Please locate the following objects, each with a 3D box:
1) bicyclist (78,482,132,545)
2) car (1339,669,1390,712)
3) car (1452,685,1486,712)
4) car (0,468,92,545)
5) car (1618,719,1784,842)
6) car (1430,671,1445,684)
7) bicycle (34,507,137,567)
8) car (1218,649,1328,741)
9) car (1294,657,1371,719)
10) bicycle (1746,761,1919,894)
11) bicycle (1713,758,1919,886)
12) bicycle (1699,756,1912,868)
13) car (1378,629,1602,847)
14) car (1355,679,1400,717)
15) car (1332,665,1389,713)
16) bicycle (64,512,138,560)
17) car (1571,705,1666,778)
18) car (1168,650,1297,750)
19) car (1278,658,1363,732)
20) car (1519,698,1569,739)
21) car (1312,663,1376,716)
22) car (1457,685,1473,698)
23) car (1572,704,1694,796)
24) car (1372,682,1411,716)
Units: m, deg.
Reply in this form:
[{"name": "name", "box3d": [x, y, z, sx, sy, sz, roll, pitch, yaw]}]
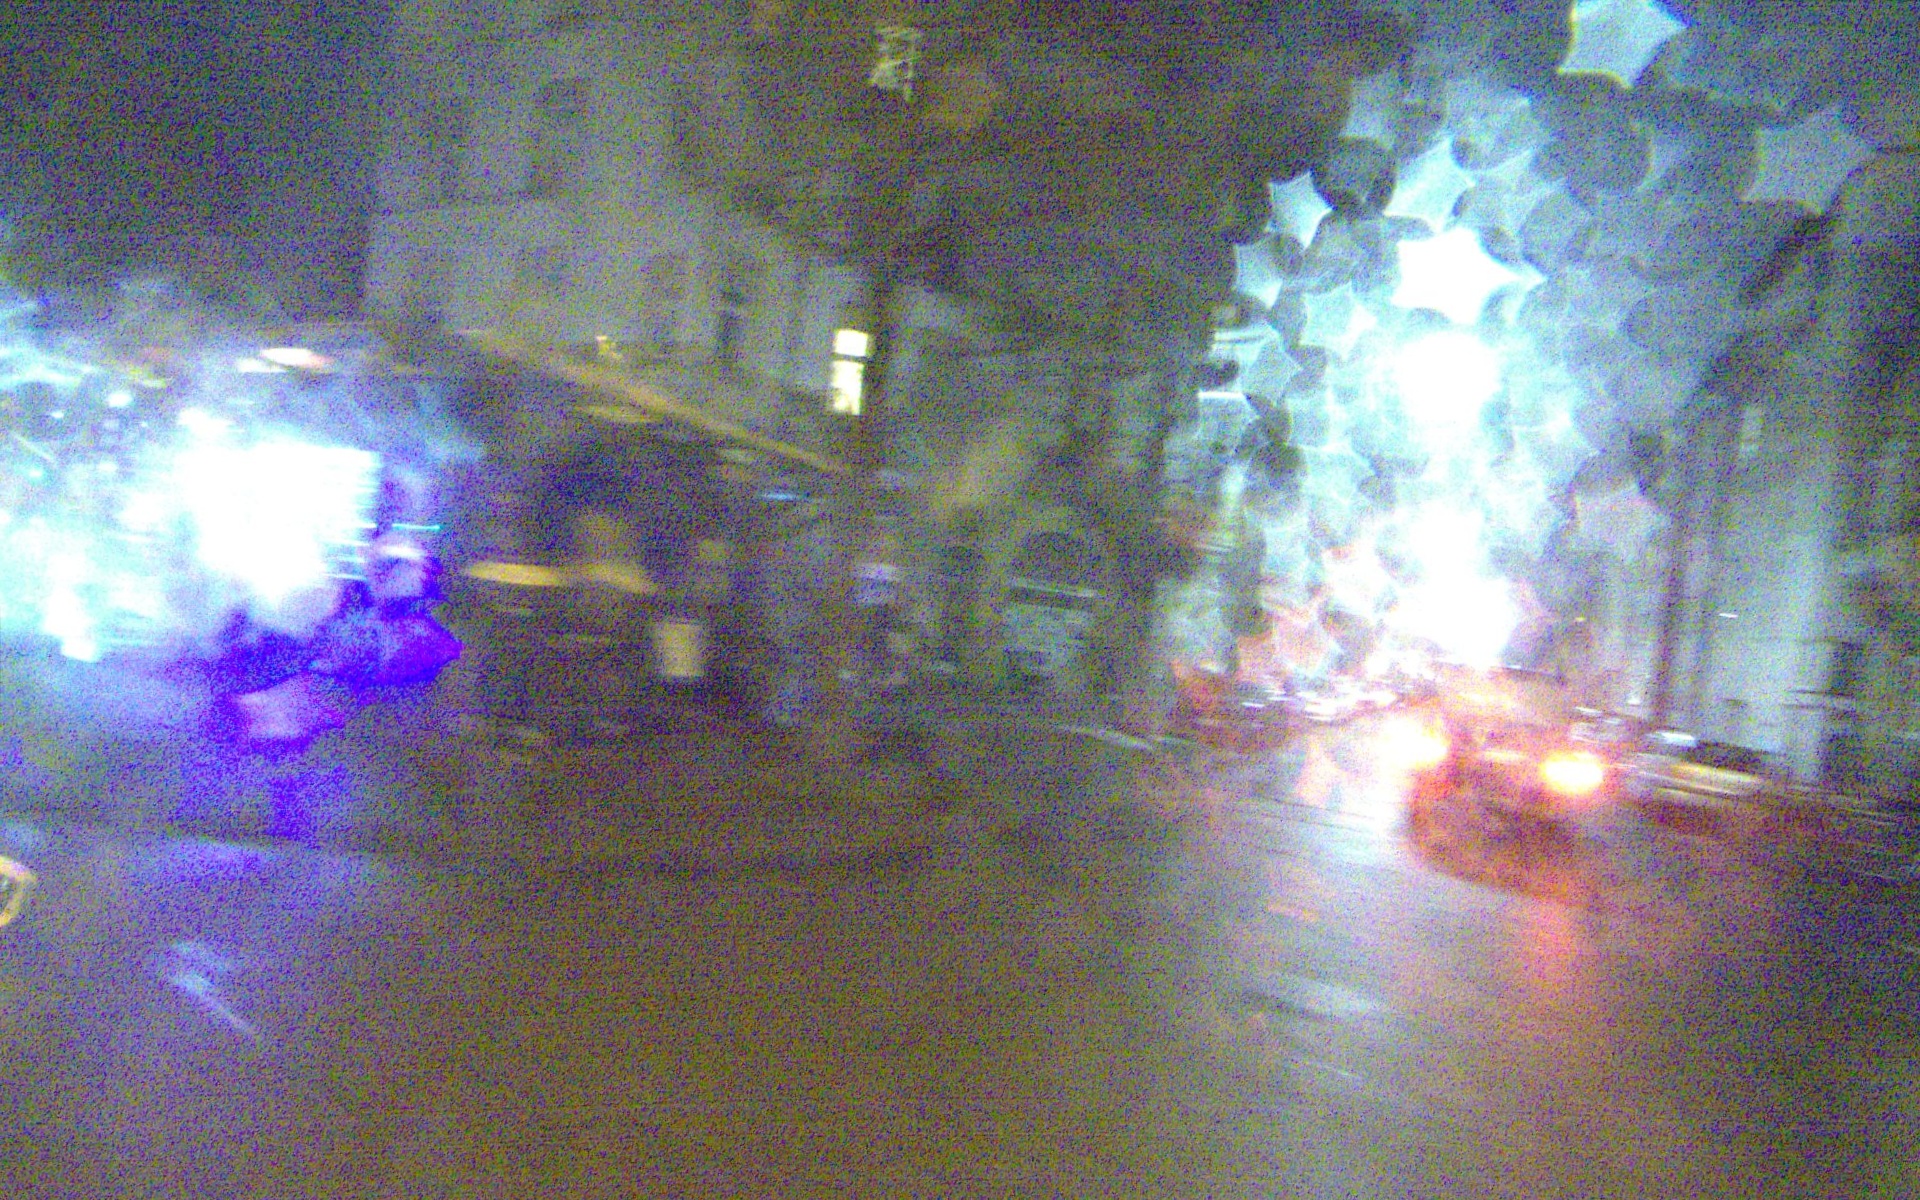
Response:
[{"name": "bicyclist", "box3d": [-25.629, -2.576, 30.176, 0.786, 1.693, 0.707, 8, -2, -9]}, {"name": "car", "box3d": [20.637, 4.583, 51.229, 1.966, 1.764, 4.692, 8, -1, 25]}, {"name": "car", "box3d": [39.336, 7.568, 77.804, 1.966, 1.764, 4.692, 8, -1, 25]}, {"name": "car", "box3d": [-24.595, -2.522, 25.670, 1.705, 1.631, 3.464, 8, -3, -1]}, {"name": "car", "box3d": [12.209, 2.903, 16.791, 1.582, 1.475, 3.412, 8, -1, 28]}, {"name": "car", "box3d": [79.549, 12.952, 167.570, 1.967, 1.764, 4.690, 8, -1, 27]}, {"name": "bicycle", "box3d": [-19.145, -1.368, 22.043, 1.635, 1.072, 0.450, 8, 1, -7]}, {"name": "car", "box3d": [7.818, 2.282, 24.808, 1.966, 1.764, 4.694, 8, -1, 23]}, {"name": "car", "box3d": [13.074, 3.047, 35.112, 1.966, 1.764, 4.692, 8, -1, 25]}, {"name": "bicycle", "box3d": [9.812, 2.482, 10.850, 1.951, 1.128, 0.507, 7, -2, 31]}, {"name": "bicycle", "box3d": [10.384, 2.635, 12.104, 1.951, 1.128, 0.702, 7, -2, 31]}, {"name": "bicycle", "box3d": [10.957, 2.721, 13.136, 1.951, 1.021, 0.702, 7, -3, 31]}, {"name": "car", "box3d": [7.059, 1.681, 13.124, 1.970, 2.073, 4.685, 8, -1, 33]}, {"name": "car", "box3d": [23.431, 5.450, 56.392, 1.966, 1.764, 4.692, 8, -1, 25]}, {"name": "car", "box3d": [18.350, 4.041, 45.968, 1.966, 1.764, 4.692, 8, -1, 25]}, {"name": "bicycle", "box3d": [-25.725, -1.901, 30.161, 0.763, 1.161, 1.715, 8, -3, -9]}, {"name": "car", "box3d": [17.026, 3.601, 26.148, 1.582, 1.475, 3.412, 8, -1, 28]}, {"name": "car", "box3d": [5.529, 1.921, 19.990, 1.739, 1.520, 4.421, 8, -1, 23]}, {"name": "car", "box3d": [10.910, 2.810, 30.235, 1.966, 1.764, 4.694, 8, -1, 23]}, {"name": "car", "box3d": [25.832, 5.233, 44.566, 1.582, 1.475, 3.412, 8, -1, 28]}, {"name": "car", "box3d": [15.797, 3.645, 41.211, 1.966, 1.764, 4.692, 8, -1, 25]}, {"name": "car", "box3d": [80.216, 14.522, 159.793, 1.966, 1.764, 4.692, 8, -1, 25]}, {"name": "car", "box3d": [14.143, 3.088, 21.337, 1.582, 1.475, 3.976, 8, -1, 28]}, {"name": "car", "box3d": [27.399, 6.247, 63.829, 1.966, 1.764, 4.692, 8, -1, 25]}]
